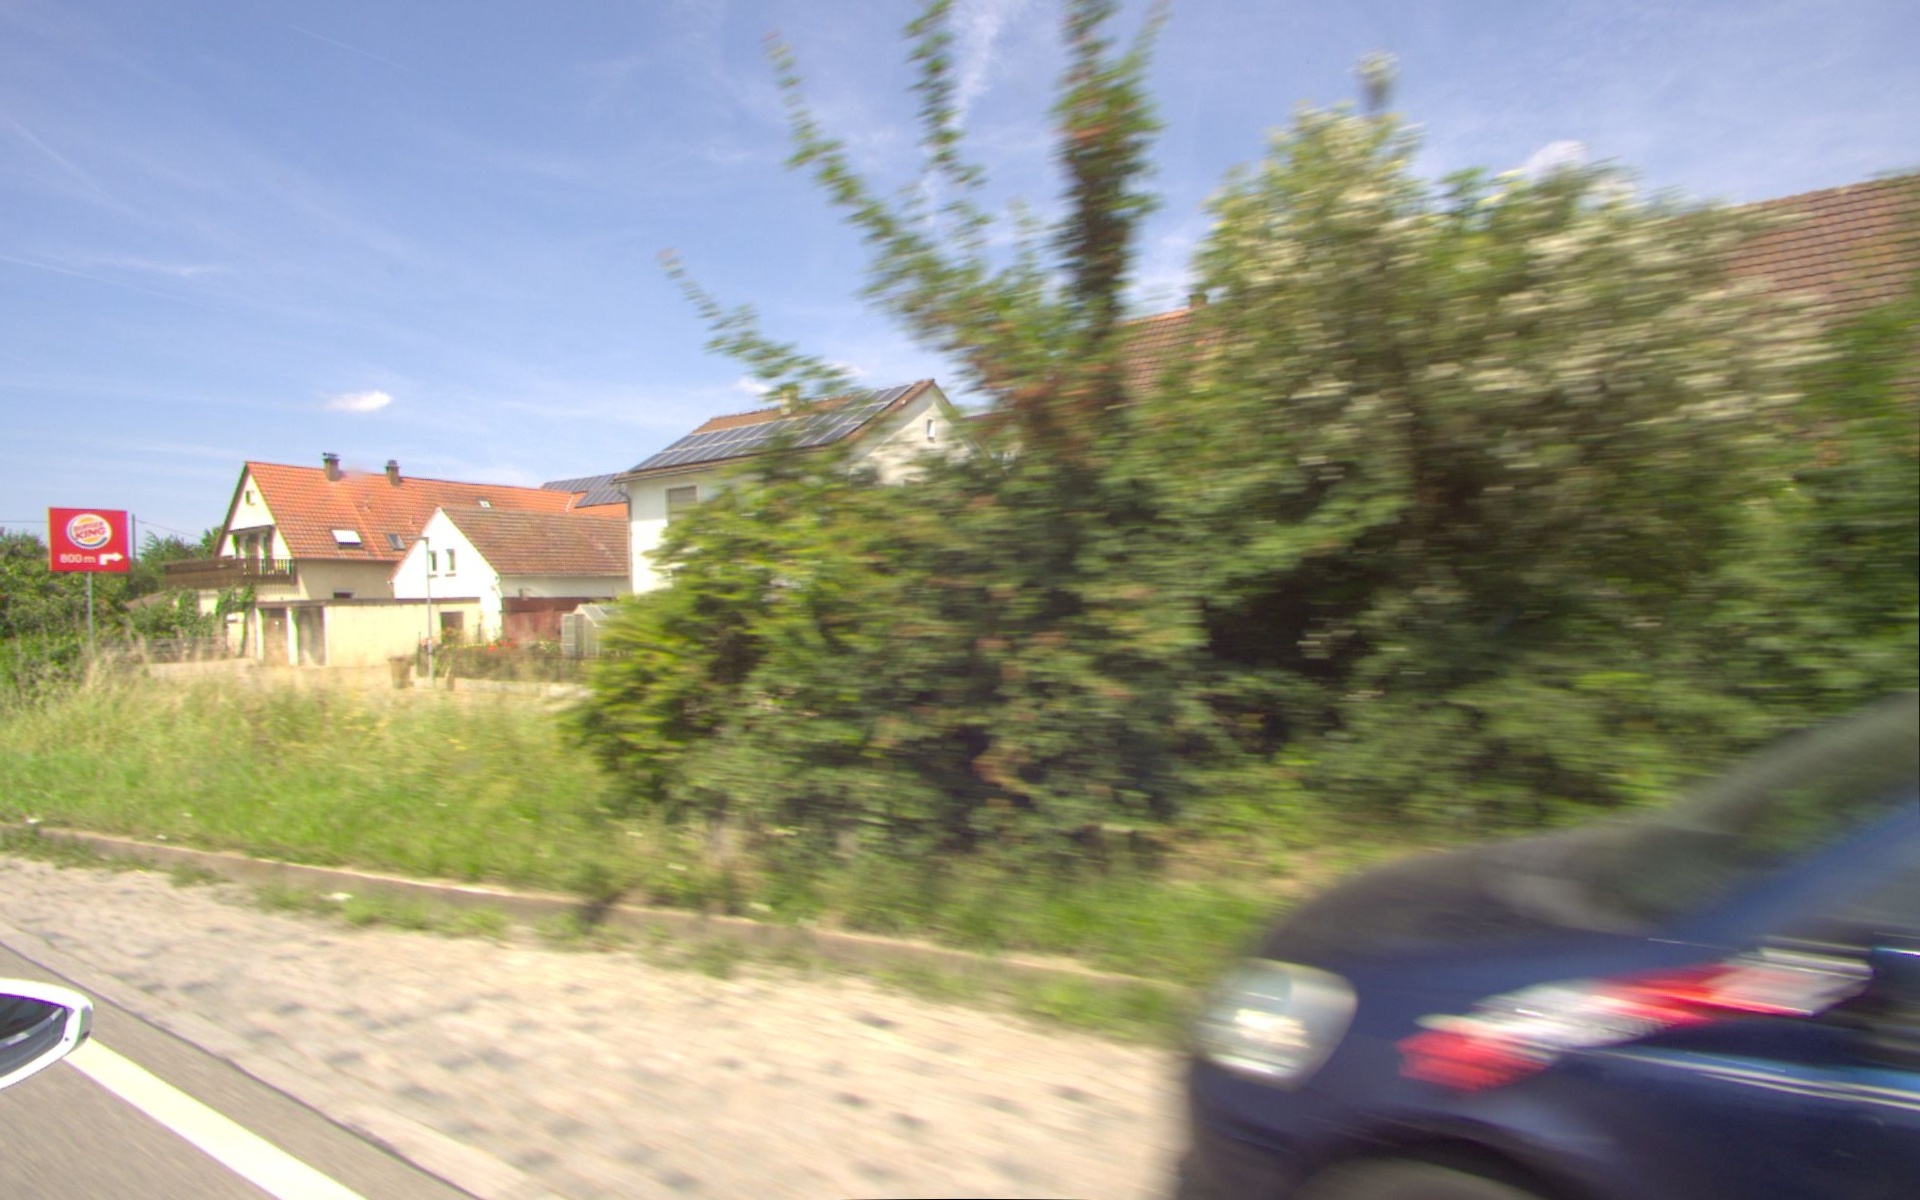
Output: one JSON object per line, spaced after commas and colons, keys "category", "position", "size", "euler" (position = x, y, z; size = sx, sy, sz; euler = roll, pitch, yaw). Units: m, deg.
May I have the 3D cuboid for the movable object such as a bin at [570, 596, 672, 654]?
{"category": "movable object such as a bin", "position": [-14.778, 1.051, 43.779], "size": [2.052, 2.375, 3.695], "euler": [1, 1, 37]}

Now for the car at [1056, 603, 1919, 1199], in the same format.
{"category": "car", "position": [2.108, 0.795, 1.806], "size": [3.500, 1.503, 1.630], "euler": [0, -2, 32]}
